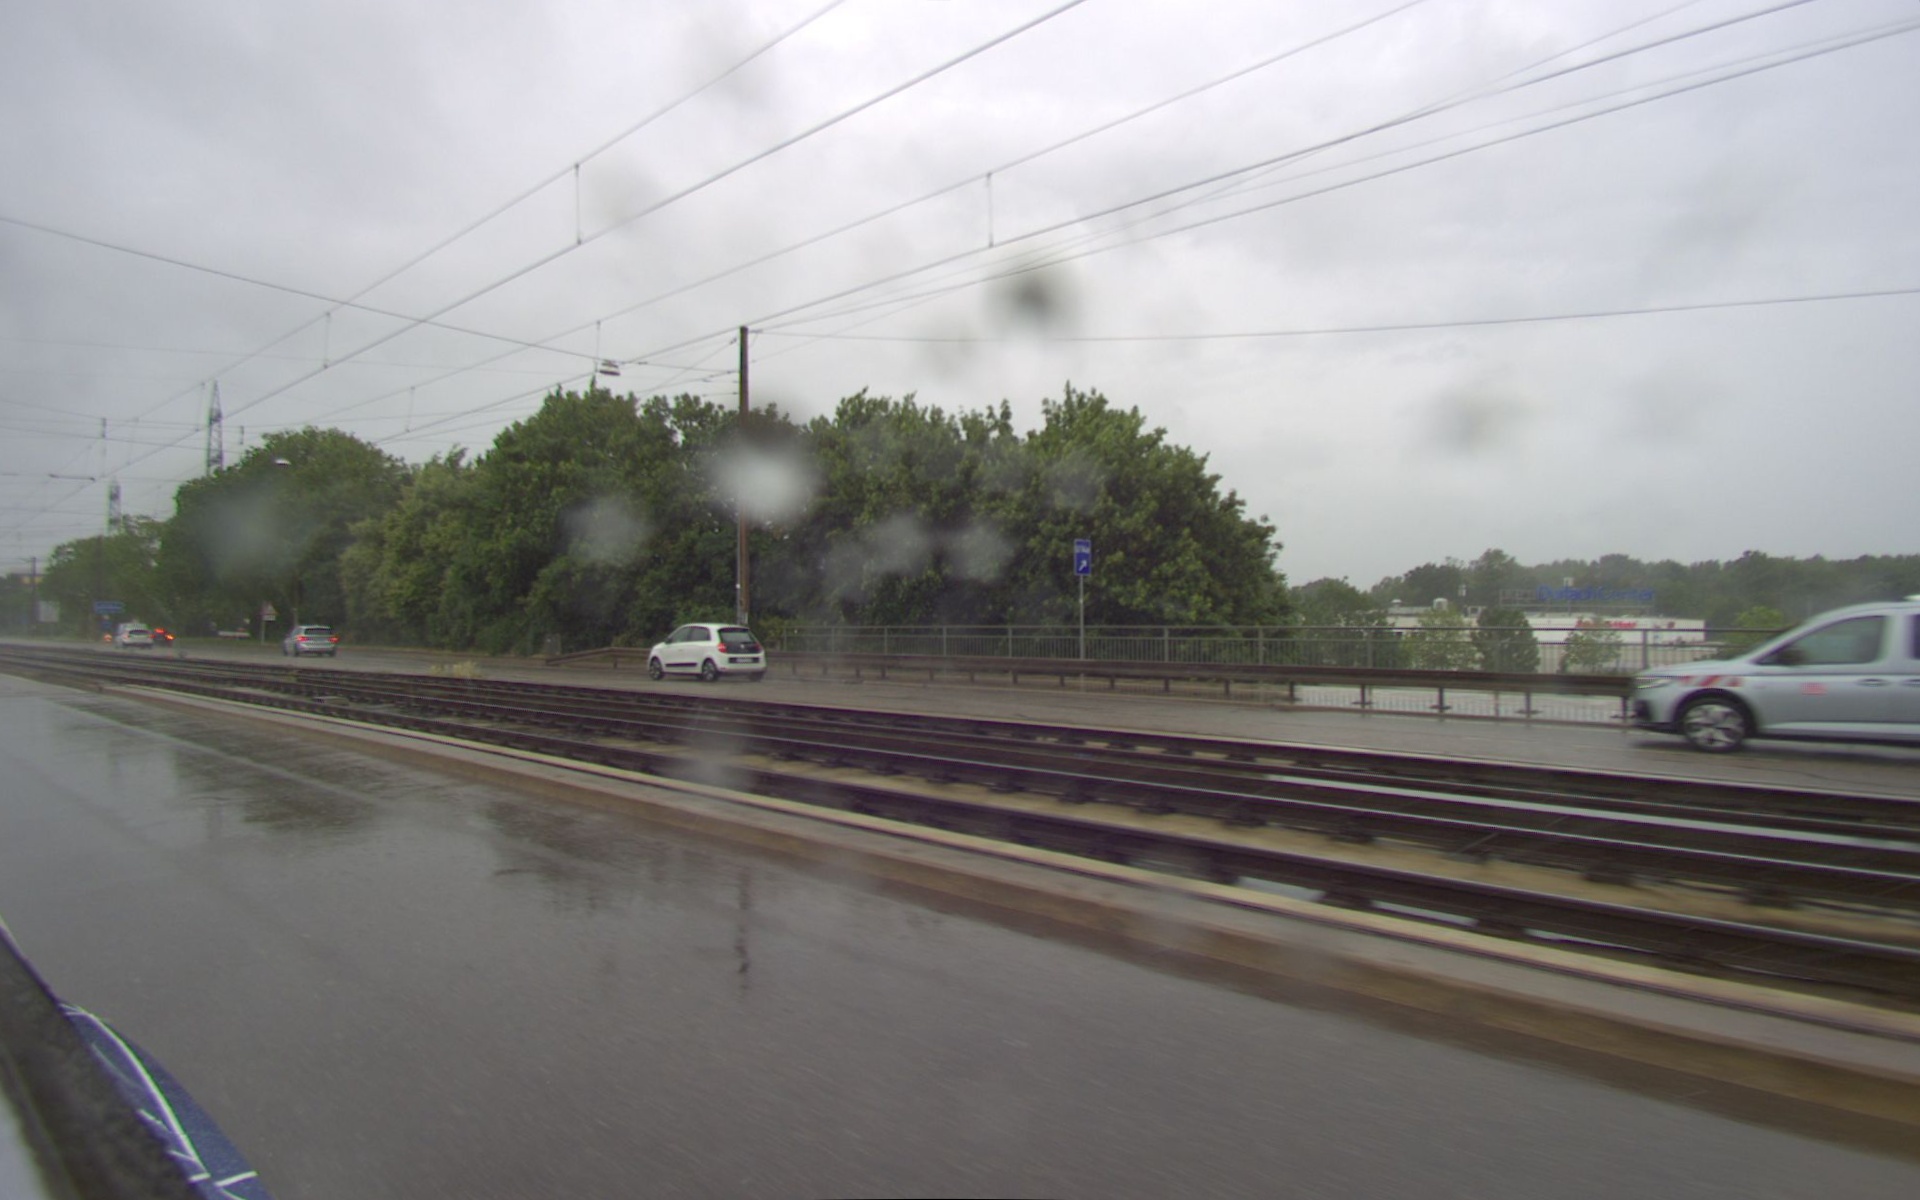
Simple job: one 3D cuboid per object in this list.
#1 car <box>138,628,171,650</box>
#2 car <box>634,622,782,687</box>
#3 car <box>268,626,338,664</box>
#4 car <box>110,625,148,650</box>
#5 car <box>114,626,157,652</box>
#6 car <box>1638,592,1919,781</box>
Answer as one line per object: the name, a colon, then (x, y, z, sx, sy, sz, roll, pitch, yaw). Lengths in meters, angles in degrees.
car: (-67.097, 3.241, 84.267, 1.753, 1.642, 3.673, -3, 2, -45)
car: (-6.878, 1.417, 27.466, 3.998, 1.630, 1.972, -1, -2, 41)
car: (-34.186, 2.303, 52.615, 4.659, 1.724, 1.814, -1, 2, 41)
car: (-76.343, 3.439, 92.946, 4.146, 2.119, 2.162, -1, 2, 43)
car: (-59.008, 2.770, 72.418, 3.669, 1.642, 1.754, -1, 2, 41)
car: (10.197, 0.879, 11.087, 4.392, 1.845, 1.829, -1, 2, 41)
